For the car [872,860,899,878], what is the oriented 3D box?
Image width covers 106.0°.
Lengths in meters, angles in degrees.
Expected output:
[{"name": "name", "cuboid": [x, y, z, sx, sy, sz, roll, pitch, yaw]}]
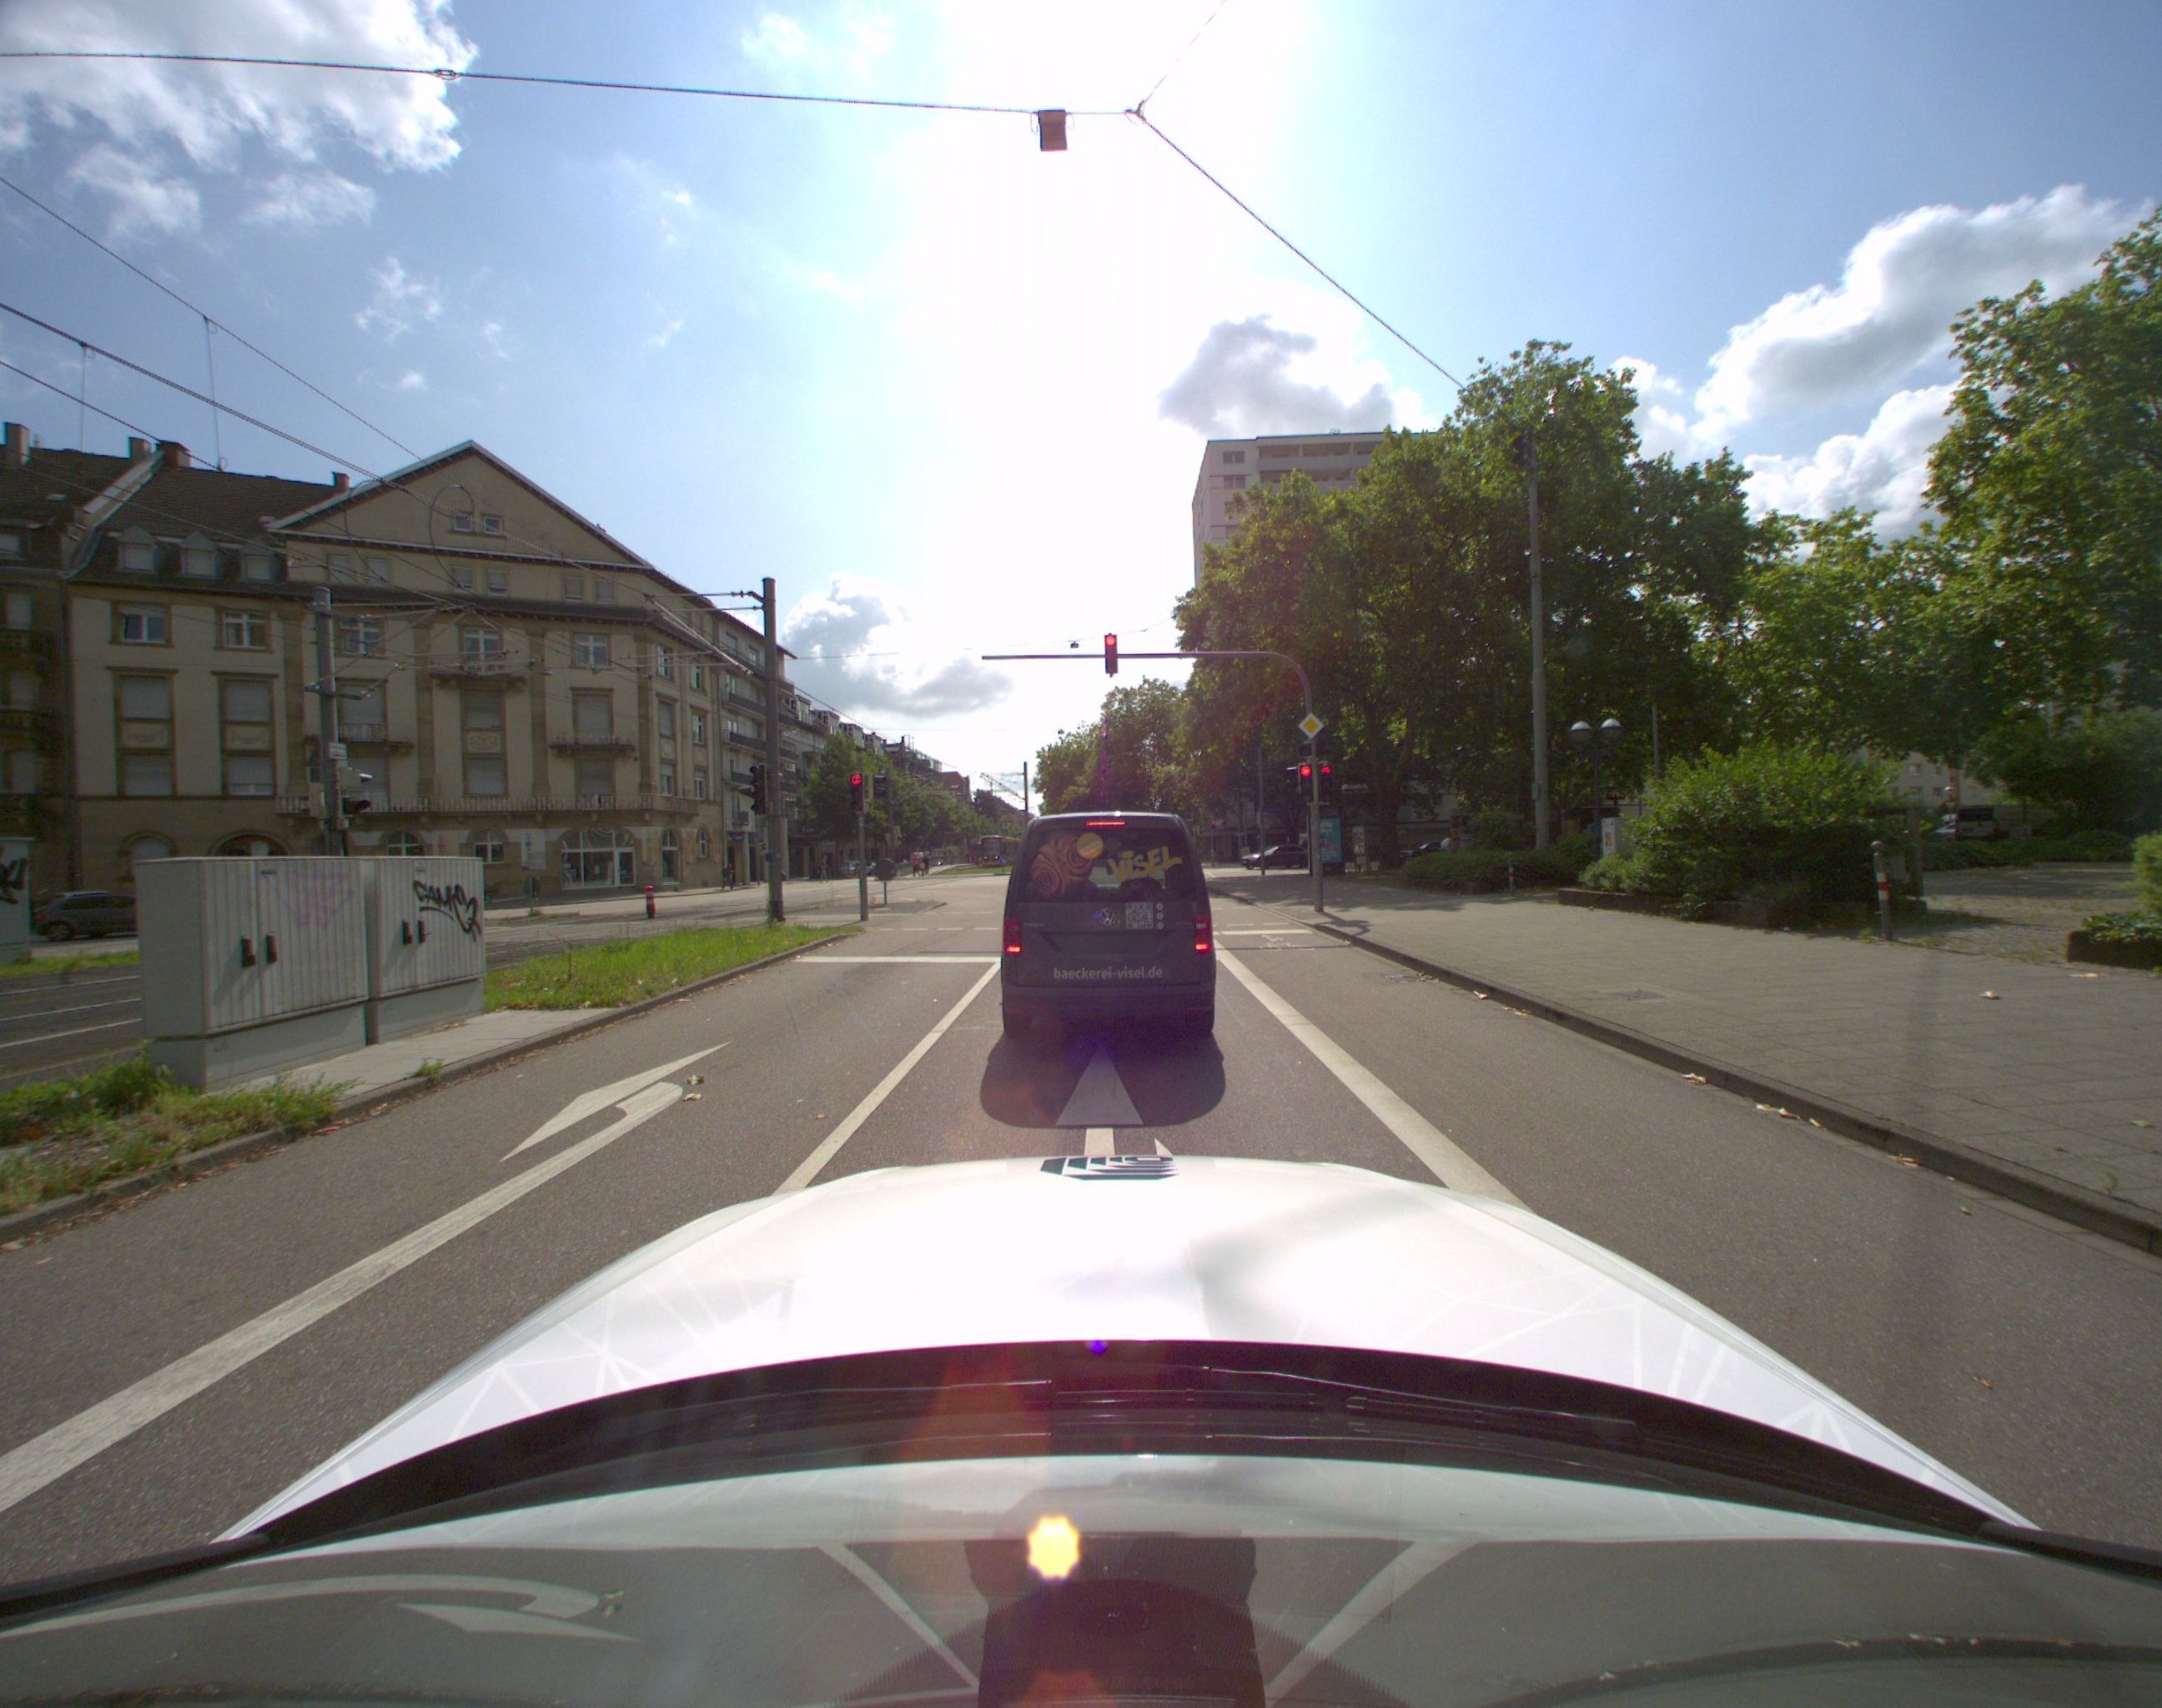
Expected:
[{"name": "car", "cuboid": [-23.324, 1.773, 97.325, 1.986, 2.013, 4.002, -2, 0, 2]}]

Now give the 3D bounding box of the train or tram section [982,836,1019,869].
[{"name": "train or tram section", "cuboid": [-8.794, -0.220, 90.304, 2.232, 3.331, 12.978, -2, 0, 2]}]

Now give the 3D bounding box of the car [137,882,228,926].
[{"name": "car", "cuboid": [-38.481, 2.103, 34.864, 3.948, 1.674, 2.013, -2, 0, 34]}]

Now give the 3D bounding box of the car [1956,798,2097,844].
[{"name": "car", "cuboid": [46.919, -1.622, 40.498, 4.396, 2.013, 2.079, -2, 0, 3]}]

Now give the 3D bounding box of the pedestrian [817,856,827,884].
[{"name": "pedestrian", "cuboid": [-18.567, 1.128, 58.365, 0.476, 2.013, 0.419, -2, 0, -4]}]

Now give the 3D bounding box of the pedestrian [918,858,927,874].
[{"name": "pedestrian", "cuboid": [-11.546, 0.890, 59.335, 0.462, 1.144, 0.435, -2, 0, 2]}]

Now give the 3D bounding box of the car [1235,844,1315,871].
[{"name": "car", "cuboid": [11.608, 0.195, 48.798, 4.499, 1.390, 1.694, -2, 0, -22]}]

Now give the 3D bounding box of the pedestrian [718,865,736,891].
[{"name": "pedestrian", "cuboid": [-22.598, 1.501, 51.961, 0.866, 1.596, 0.686, -2, 0, -39]}]

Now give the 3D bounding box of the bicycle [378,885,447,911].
[{"name": "bicycle", "cuboid": [-31.966, 2.075, 39.008, 0.797, 1.053, 2.576, -2, 0, 14]}]

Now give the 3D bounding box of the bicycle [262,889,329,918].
[{"name": "bicycle", "cuboid": [-34.033, 2.129, 35.314, 1.985, 1.114, 0.482, -3, 0, -35]}]

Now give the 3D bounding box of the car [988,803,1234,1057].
[{"name": "car", "cuboid": [0.283, 0.538, 7.595, 1.743, 1.808, 3.476, -1, 0, 2]}]

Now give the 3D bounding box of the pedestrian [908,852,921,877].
[{"name": "pedestrian", "cuboid": [-12.129, 0.752, 59.359, 0.656, 1.784, 0.661, -2, 0, 2]}]

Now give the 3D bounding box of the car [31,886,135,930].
[{"name": "car", "cuboid": [-41.490, 2.237, 33.848, 3.950, 1.639, 1.813, -2, 0, 26]}]

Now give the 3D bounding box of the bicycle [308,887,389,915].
[{"name": "bicycle", "cuboid": [-32.974, 2.107, 36.709, 2.571, 1.053, 0.676, -3, 0, -26]}]

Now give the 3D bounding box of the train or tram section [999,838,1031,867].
[{"name": "train or tram section", "cuboid": [-8.254, -0.261, 103.744, 2.232, 3.331, 14.021, -2, 0, 2]}]

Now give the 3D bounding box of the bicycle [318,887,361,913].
[{"name": "bicycle", "cuboid": [-34.443, 2.135, 37.882, 0.808, 1.053, 2.543, -2, 0, -27]}]

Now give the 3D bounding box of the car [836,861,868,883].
[{"name": "car", "cuboid": [-23.580, 1.843, 84.095, 1.986, 2.013, 4.002, -2, 0, 2]}]

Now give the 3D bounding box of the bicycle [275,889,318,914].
[{"name": "bicycle", "cuboid": [-36.130, 2.169, 37.528, 0.744, 1.053, 2.343, -2, 0, -27]}]

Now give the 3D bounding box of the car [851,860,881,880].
[{"name": "car", "cuboid": [-23.427, 1.700, 88.815, 1.986, 2.013, 4.002, -2, 0, 2]}]

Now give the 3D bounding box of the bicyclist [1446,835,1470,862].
[{"name": "bicyclist", "cuboid": [22.151, -0.330, 47.921, 0.995, 1.511, 0.780, -2, 0, -2]}]

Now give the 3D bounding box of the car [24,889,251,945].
[{"name": "car", "cuboid": [-31.084, 2.049, 27.025, 4.574, 1.436, 1.694, -2, 0, -22]}]

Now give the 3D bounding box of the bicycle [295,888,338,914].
[{"name": "bicycle", "cuboid": [-35.198, 2.150, 37.542, 0.744, 1.053, 2.543, -2, 0, -27]}]

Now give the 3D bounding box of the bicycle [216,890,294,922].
[{"name": "bicycle", "cuboid": [-36.411, 2.307, 35.895, 3.283, 1.253, 1.003, -2, 0, 18]}]

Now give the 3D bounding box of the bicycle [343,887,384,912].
[{"name": "bicycle", "cuboid": [-33.676, 2.118, 38.277, 0.808, 1.053, 2.543, -2, 0, -27]}]

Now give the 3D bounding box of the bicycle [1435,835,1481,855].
[{"name": "bicycle", "cuboid": [22.199, -0.540, 47.956, 2.297, 1.048, 0.895, -2, 0, -5]}]

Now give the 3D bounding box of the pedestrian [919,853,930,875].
[{"name": "pedestrian", "cuboid": [-12.268, 0.745, 63.892, 0.656, 1.685, 0.656, -2, 0, 2]}]
